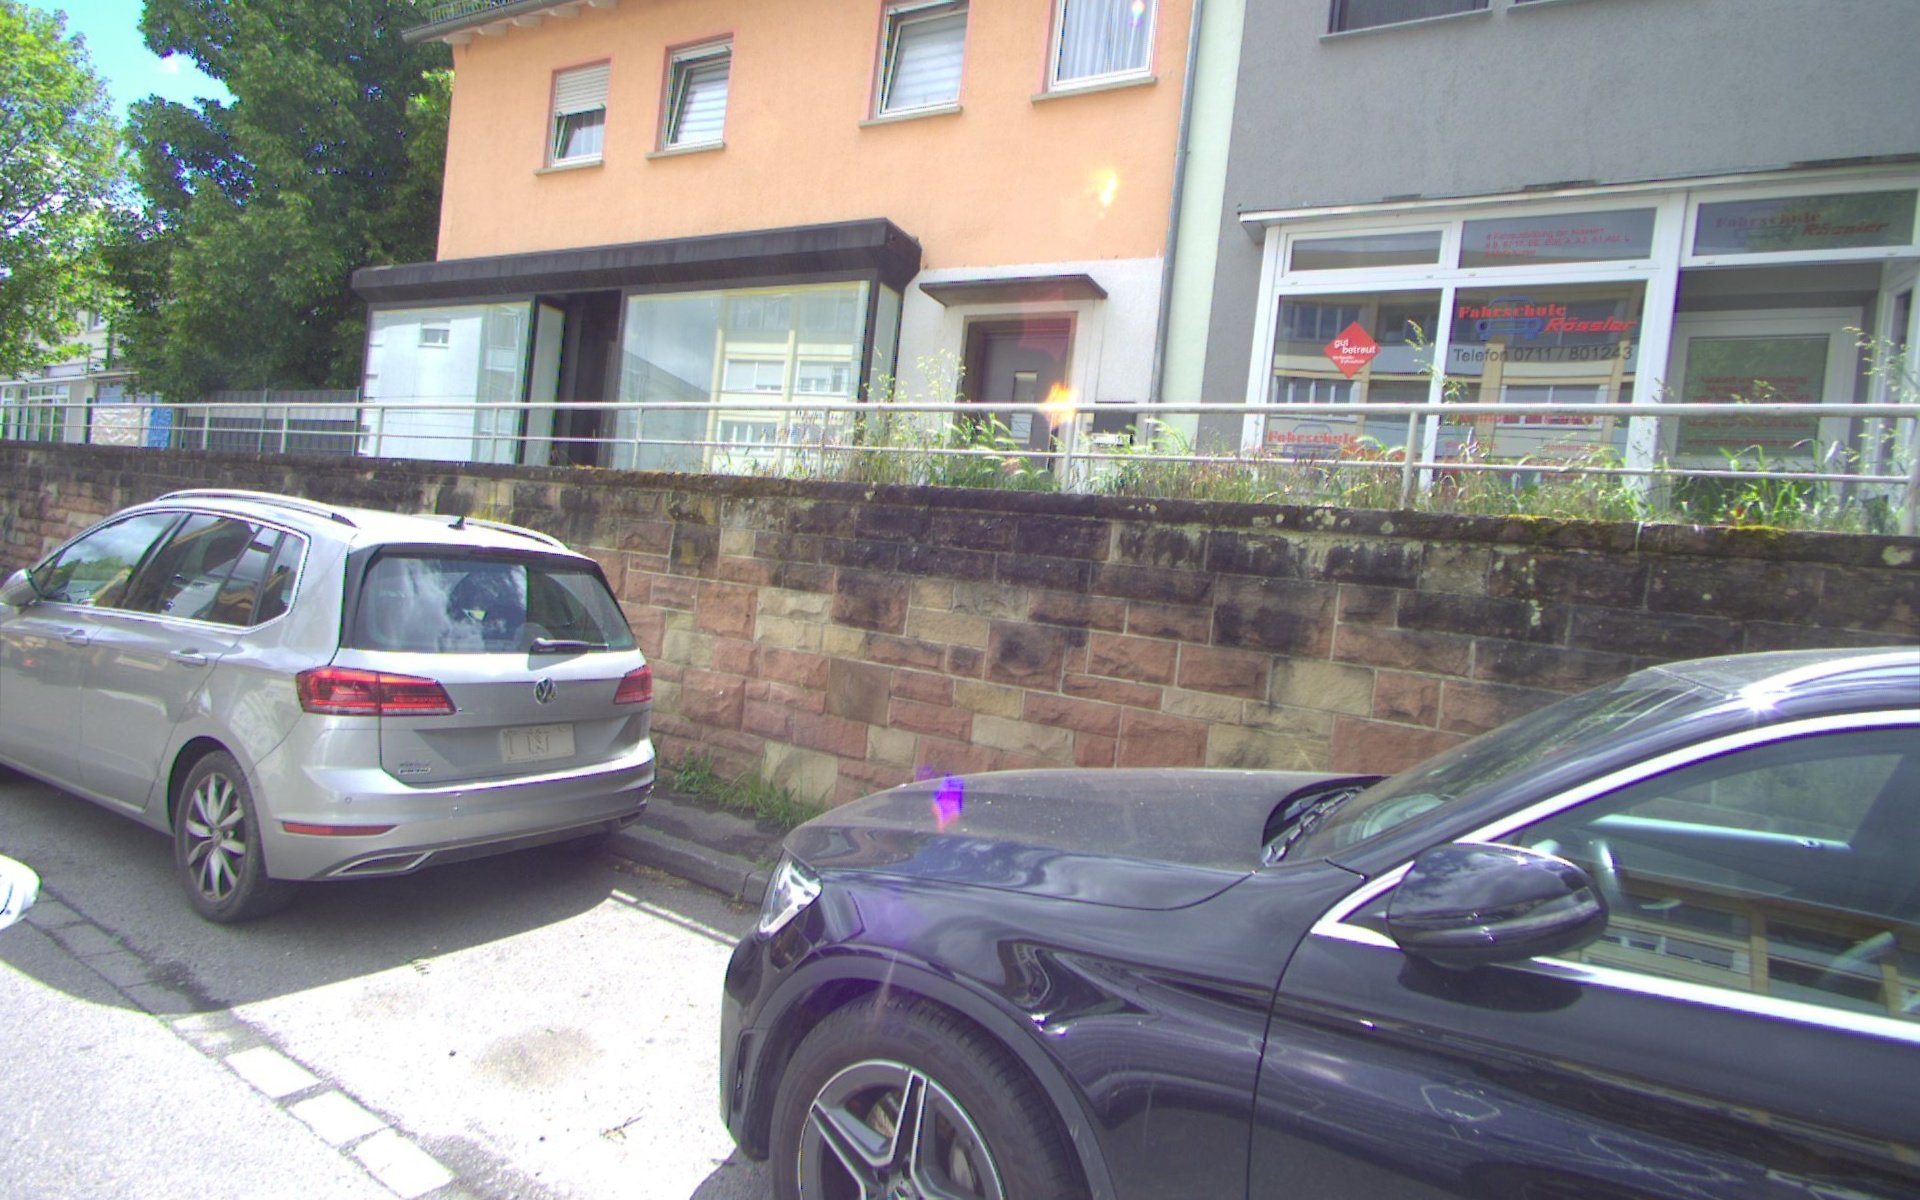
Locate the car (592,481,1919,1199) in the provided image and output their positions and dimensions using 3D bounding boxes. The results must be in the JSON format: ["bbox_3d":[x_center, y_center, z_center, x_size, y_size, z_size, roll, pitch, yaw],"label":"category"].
[{"bbox_3d":[1.548,0.795,1.911,4.373,1.639,1.791,6,2,31],"label":"car"}]

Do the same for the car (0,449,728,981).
[{"bbox_3d":[-3.397,0.243,5.027,4.177,1.638,1.791,6,1,31],"label":"car"}]
